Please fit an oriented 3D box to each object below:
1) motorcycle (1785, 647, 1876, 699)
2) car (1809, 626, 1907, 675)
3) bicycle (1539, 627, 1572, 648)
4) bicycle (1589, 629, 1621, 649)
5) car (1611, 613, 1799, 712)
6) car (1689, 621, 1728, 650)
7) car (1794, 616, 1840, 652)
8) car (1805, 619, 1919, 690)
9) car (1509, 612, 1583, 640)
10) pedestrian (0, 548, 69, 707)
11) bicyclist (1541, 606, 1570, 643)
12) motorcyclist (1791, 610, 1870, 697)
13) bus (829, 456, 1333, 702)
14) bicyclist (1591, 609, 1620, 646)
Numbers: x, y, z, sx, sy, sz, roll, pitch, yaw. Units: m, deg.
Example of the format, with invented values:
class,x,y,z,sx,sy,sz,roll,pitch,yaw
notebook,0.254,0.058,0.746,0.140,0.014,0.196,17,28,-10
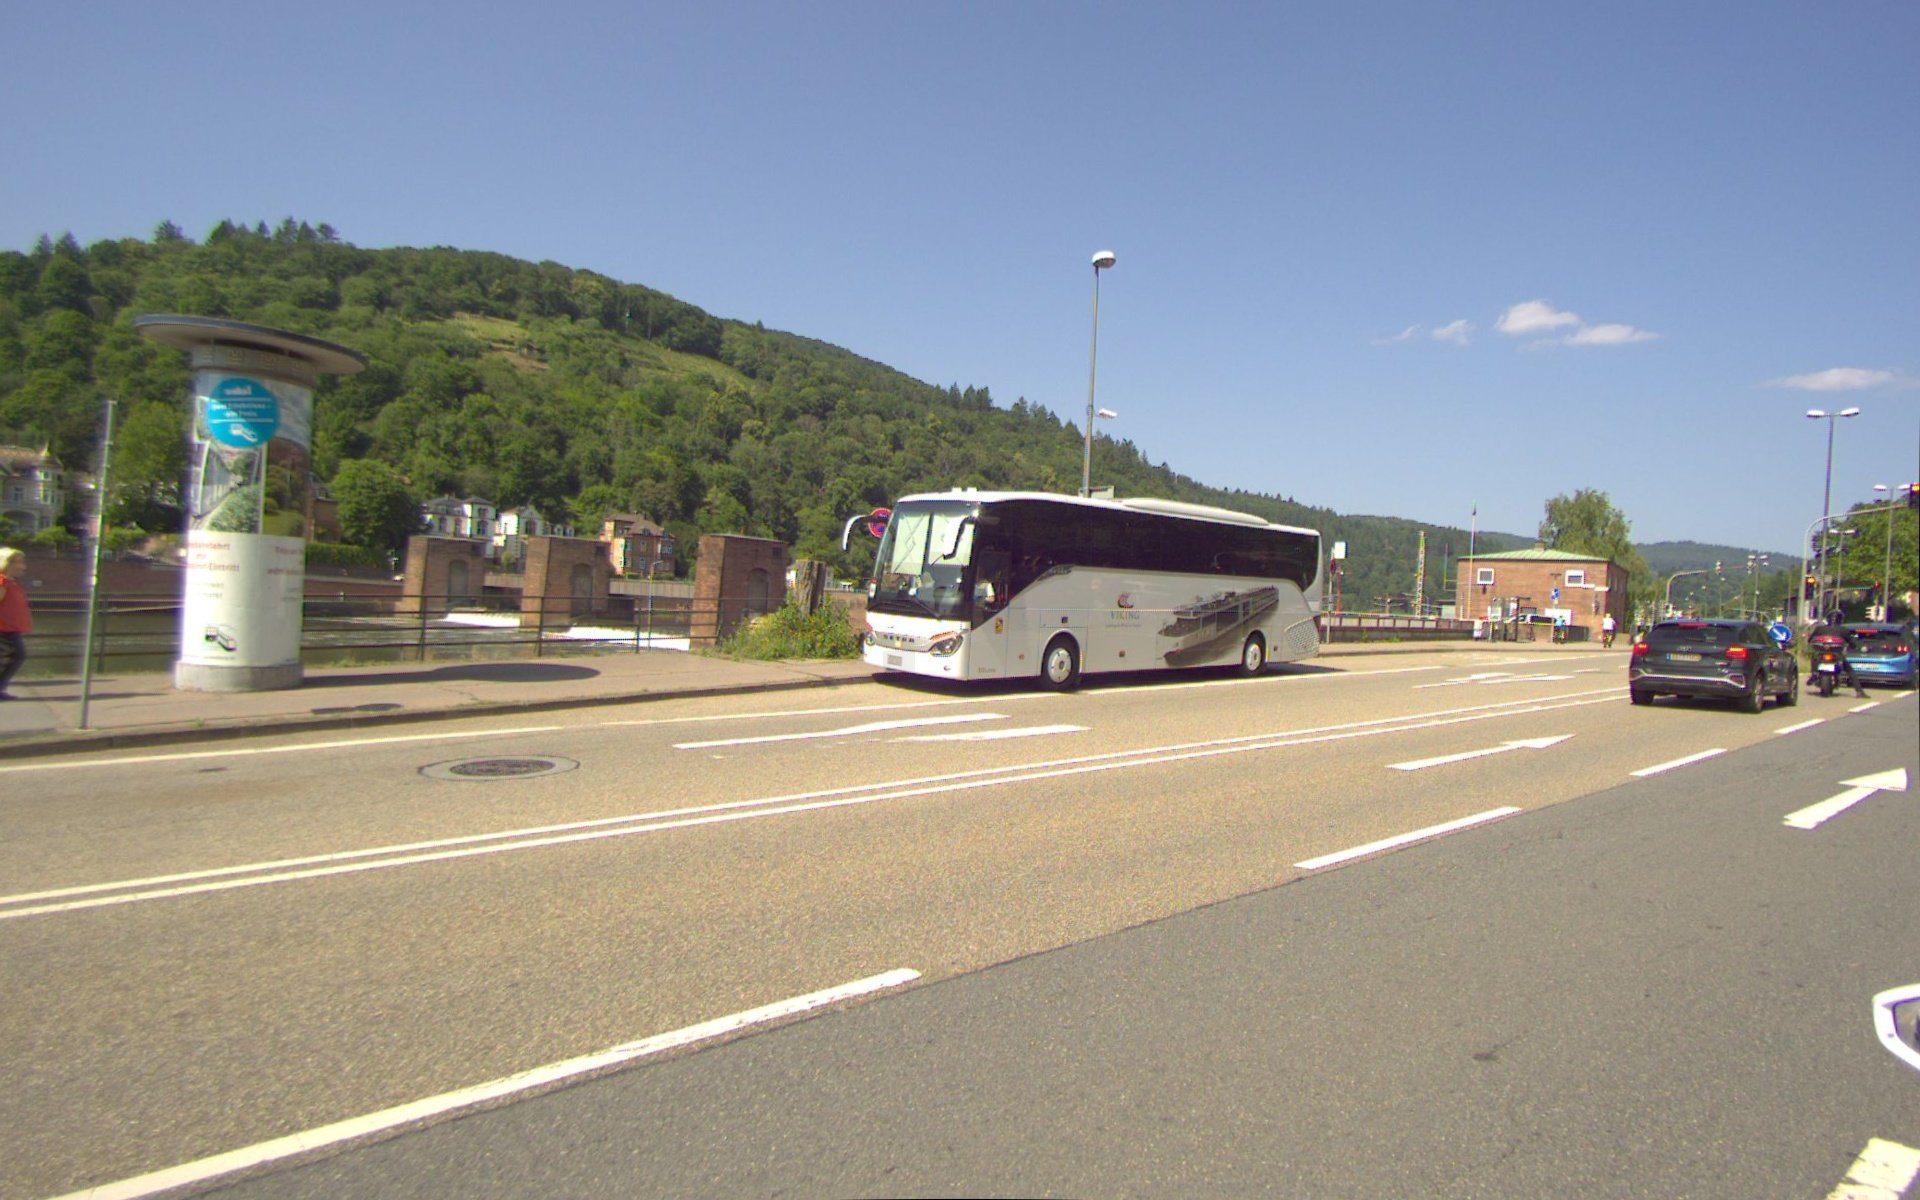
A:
class,x,y,z,sx,sy,sz,roll,pitch,yaw
motorcycle,18.147,1.490,20.915,2.583,0.932,1.029,1,0,-40
car,27.775,1.511,31.036,3.970,1.377,1.850,1,0,-42
bicycle,33.746,2.115,56.928,1.198,1.105,2.586,1,0,40
bicycle,36.620,2.199,57.008,1.198,1.105,2.586,1,0,40
car,13.307,1.041,17.862,4.118,1.534,1.853,2,-1,-41
car,58.003,2.700,77.818,2.188,2.106,5.020,1,0,39
car,64.429,2.521,75.600,2.354,2.610,6.030,0,-1,38
car,22.739,1.301,25.174,3.970,1.583,1.850,1,0,-42
car,45.642,1.998,78.334,4.524,2.040,2.001,1,0,8
pedestrian,-10.120,0.278,10.712,0.694,1.643,0.813,2,0,40
bicyclist,33.783,1.384,56.977,1.198,2.040,1.113,1,0,41
motorcyclist,18.036,1.082,20.816,1.146,1.707,1.067,1,0,-40
bus,3.444,-0.337,21.379,13.156,3.852,2.927,1,4,-45
bicyclist,36.668,1.553,57.065,1.198,2.040,1.113,1,0,41
